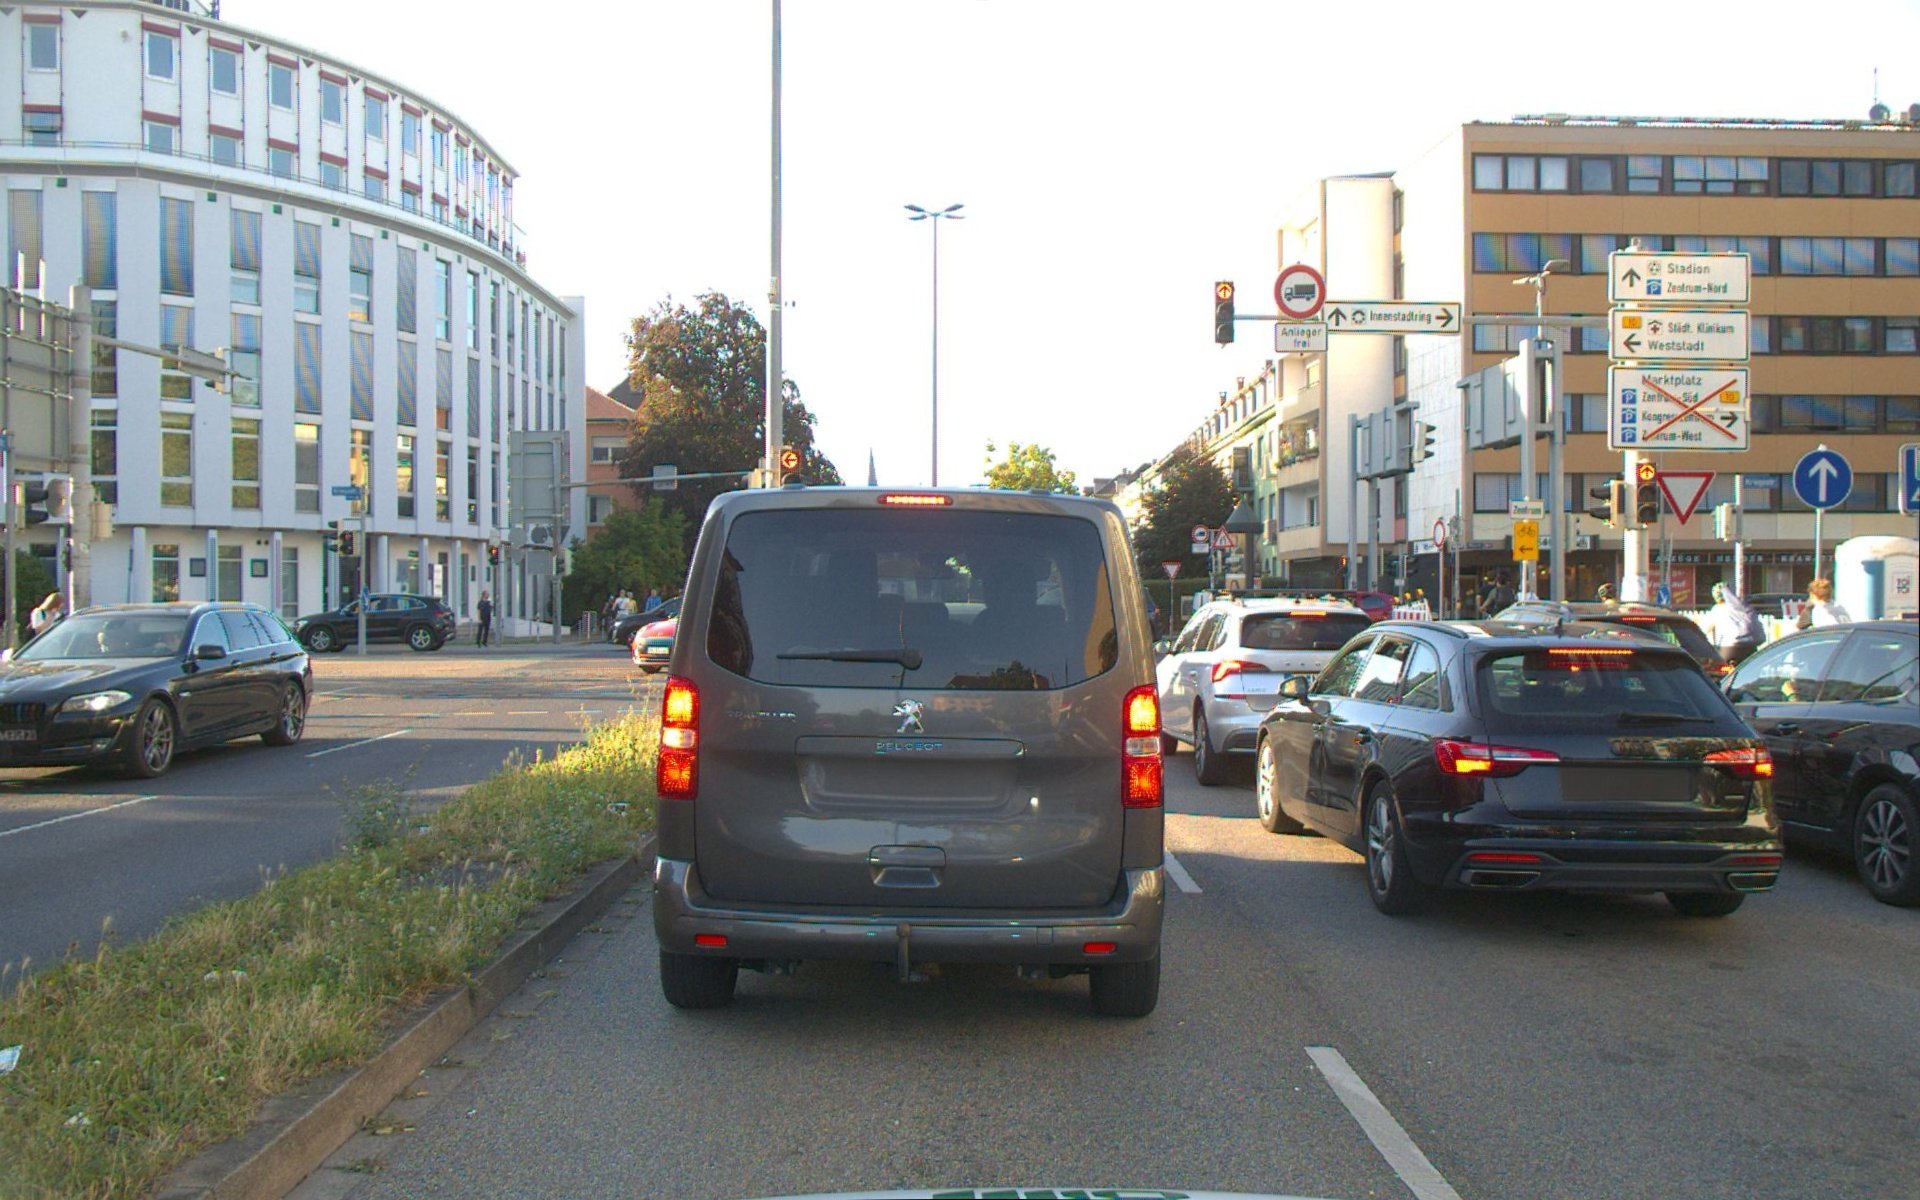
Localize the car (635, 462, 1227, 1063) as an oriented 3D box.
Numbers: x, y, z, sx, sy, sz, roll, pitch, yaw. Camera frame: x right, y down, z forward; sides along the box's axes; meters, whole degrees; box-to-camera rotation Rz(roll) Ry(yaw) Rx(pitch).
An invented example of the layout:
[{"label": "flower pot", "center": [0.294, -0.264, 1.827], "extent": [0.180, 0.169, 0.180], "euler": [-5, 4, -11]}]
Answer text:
[{"label": "car", "center": [-0.123, 0.519, 7.578], "extent": [1.868, 1.896, 4.525], "euler": [1, 0, -1]}]

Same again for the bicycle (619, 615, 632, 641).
[{"label": "bicycle", "center": [-12.583, 1.060, 62.318], "extent": [0.285, 0.965, 1.072], "euler": [0, 0, -1]}]

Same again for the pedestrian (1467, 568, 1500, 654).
[{"label": "pedestrian", "center": [11.411, 0.233, 36.072], "extent": [0.558, 1.866, 0.487], "euler": [0, 0, 1]}]

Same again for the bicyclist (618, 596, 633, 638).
[{"label": "bicyclist", "center": [-12.591, 0.641, 62.274], "extent": [0.453, 1.548, 0.469], "euler": [0, 0, -1]}]

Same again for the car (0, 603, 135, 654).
[{"label": "car", "center": [-24.694, 0.760, 45.103], "extent": [3.539, 1.319, 1.832], "euler": [0, 0, -9]}]

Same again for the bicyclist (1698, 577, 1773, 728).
[{"label": "bicyclist", "center": [8.141, 0.541, 17.381], "extent": [0.432, 1.552, 0.725], "euler": [0, 0, -1]}]

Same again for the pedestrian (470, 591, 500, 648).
[{"label": "pedestrian", "center": [-14.662, 0.587, 51.041], "extent": [0.660, 1.752, 0.624], "euler": [0, 0, 44]}]

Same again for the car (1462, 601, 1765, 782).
[{"label": "car", "center": [5.959, 0.768, 15.462], "extent": [1.474, 1.474, 3.304], "euler": [1, 0, -1]}]

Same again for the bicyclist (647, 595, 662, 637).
[{"label": "bicyclist", "center": [-11.490, 0.601, 62.210], "extent": [0.467, 1.582, 0.509], "euler": [0, 0, -1]}]

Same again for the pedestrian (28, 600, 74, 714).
[{"label": "pedestrian", "center": [-12.287, 0.765, 22.363], "extent": [0.466, 1.532, 0.334], "euler": [0, 0, -13]}]

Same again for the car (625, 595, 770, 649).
[{"label": "car", "center": [-6.998, 0.568, 44.400], "extent": [3.743, 1.378, 1.724], "euler": [0, 0, -7]}]

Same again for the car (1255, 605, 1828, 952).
[{"label": "car", "center": [2.893, 0.778, 9.247], "extent": [1.647, 1.446, 4.213], "euler": [1, 0, -1]}]

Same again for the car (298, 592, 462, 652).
[{"label": "car", "center": [-16.277, 0.621, 46.564], "extent": [4.039, 1.622, 1.793], "euler": [0, -1, -6]}]

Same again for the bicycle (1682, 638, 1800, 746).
[{"label": "bicycle", "center": [8.137, 0.933, 17.298], "extent": [0.329, 1.025, 1.855], "euler": [0, 0, -1]}]

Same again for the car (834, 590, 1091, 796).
[{"label": "car", "center": [-0.011, 0.699, 14.607], "extent": [1.953, 1.557, 3.999], "euler": [0, 0, -1]}]

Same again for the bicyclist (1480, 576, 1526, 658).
[{"label": "bicyclist", "center": [10.973, 0.329, 33.430], "extent": [0.605, 1.616, 0.814], "euler": [1, 1, -4]}]

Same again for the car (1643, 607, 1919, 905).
[{"label": "car", "center": [5.622, 0.811, 9.731], "extent": [1.600, 1.474, 3.744], "euler": [1, 0, -1]}]

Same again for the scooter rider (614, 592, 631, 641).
[{"label": "scooter rider", "center": [-11.850, 0.581, 58.107], "extent": [0.471, 1.727, 0.636], "euler": [0, 0, -1]}]

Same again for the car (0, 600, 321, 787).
[{"label": "car", "center": [-7.628, 0.757, 15.388], "extent": [1.662, 1.467, 4.242], "euler": [-1, 0, 1]}]

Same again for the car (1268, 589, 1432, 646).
[{"label": "car", "center": [10.331, 0.440, 43.903], "extent": [3.920, 1.443, 1.675], "euler": [0, 0, -14]}]

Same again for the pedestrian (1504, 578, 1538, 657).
[{"label": "pedestrian", "center": [12.310, 0.381, 36.289], "extent": [0.589, 1.700, 0.454], "euler": [0, 0, 1]}]

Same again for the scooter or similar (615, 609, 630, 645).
[{"label": "scooter or similar", "center": [-11.855, 0.940, 58.093], "extent": [0.279, 1.209, 1.169], "euler": [0, 0, -1]}]

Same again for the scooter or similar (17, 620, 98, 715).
[{"label": "scooter or similar", "center": [-12.197, 0.906, 22.368], "extent": [0.877, 1.255, 0.370], "euler": [0, 0, -12]}]

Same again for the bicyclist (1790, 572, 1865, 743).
[{"label": "bicyclist", "center": [7.979, 0.520, 15.220], "extent": [0.432, 1.552, 0.482], "euler": [0, 0, -1]}]

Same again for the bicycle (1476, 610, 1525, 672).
[{"label": "bicycle", "center": [10.918, 0.817, 33.455], "extent": [0.365, 1.181, 1.498], "euler": [1, 1, -4]}]

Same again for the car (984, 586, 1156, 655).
[{"label": "car", "center": [2.603, 0.441, 38.676], "extent": [3.959, 1.543, 1.659], "euler": [0, 0, -38]}]

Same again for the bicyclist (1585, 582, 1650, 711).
[{"label": "bicyclist", "center": [8.069, 0.563, 20.315], "extent": [0.503, 1.552, 0.725], "euler": [0, 0, -1]}]

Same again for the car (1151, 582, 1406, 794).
[{"label": "car", "center": [2.725, 0.685, 14.899], "extent": [1.498, 1.641, 3.744], "euler": [1, 0, -1]}]

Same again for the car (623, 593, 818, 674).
[{"label": "car", "center": [-4.542, 0.595, 31.875], "extent": [1.644, 1.443, 3.993], "euler": [0, 0, 29]}]
